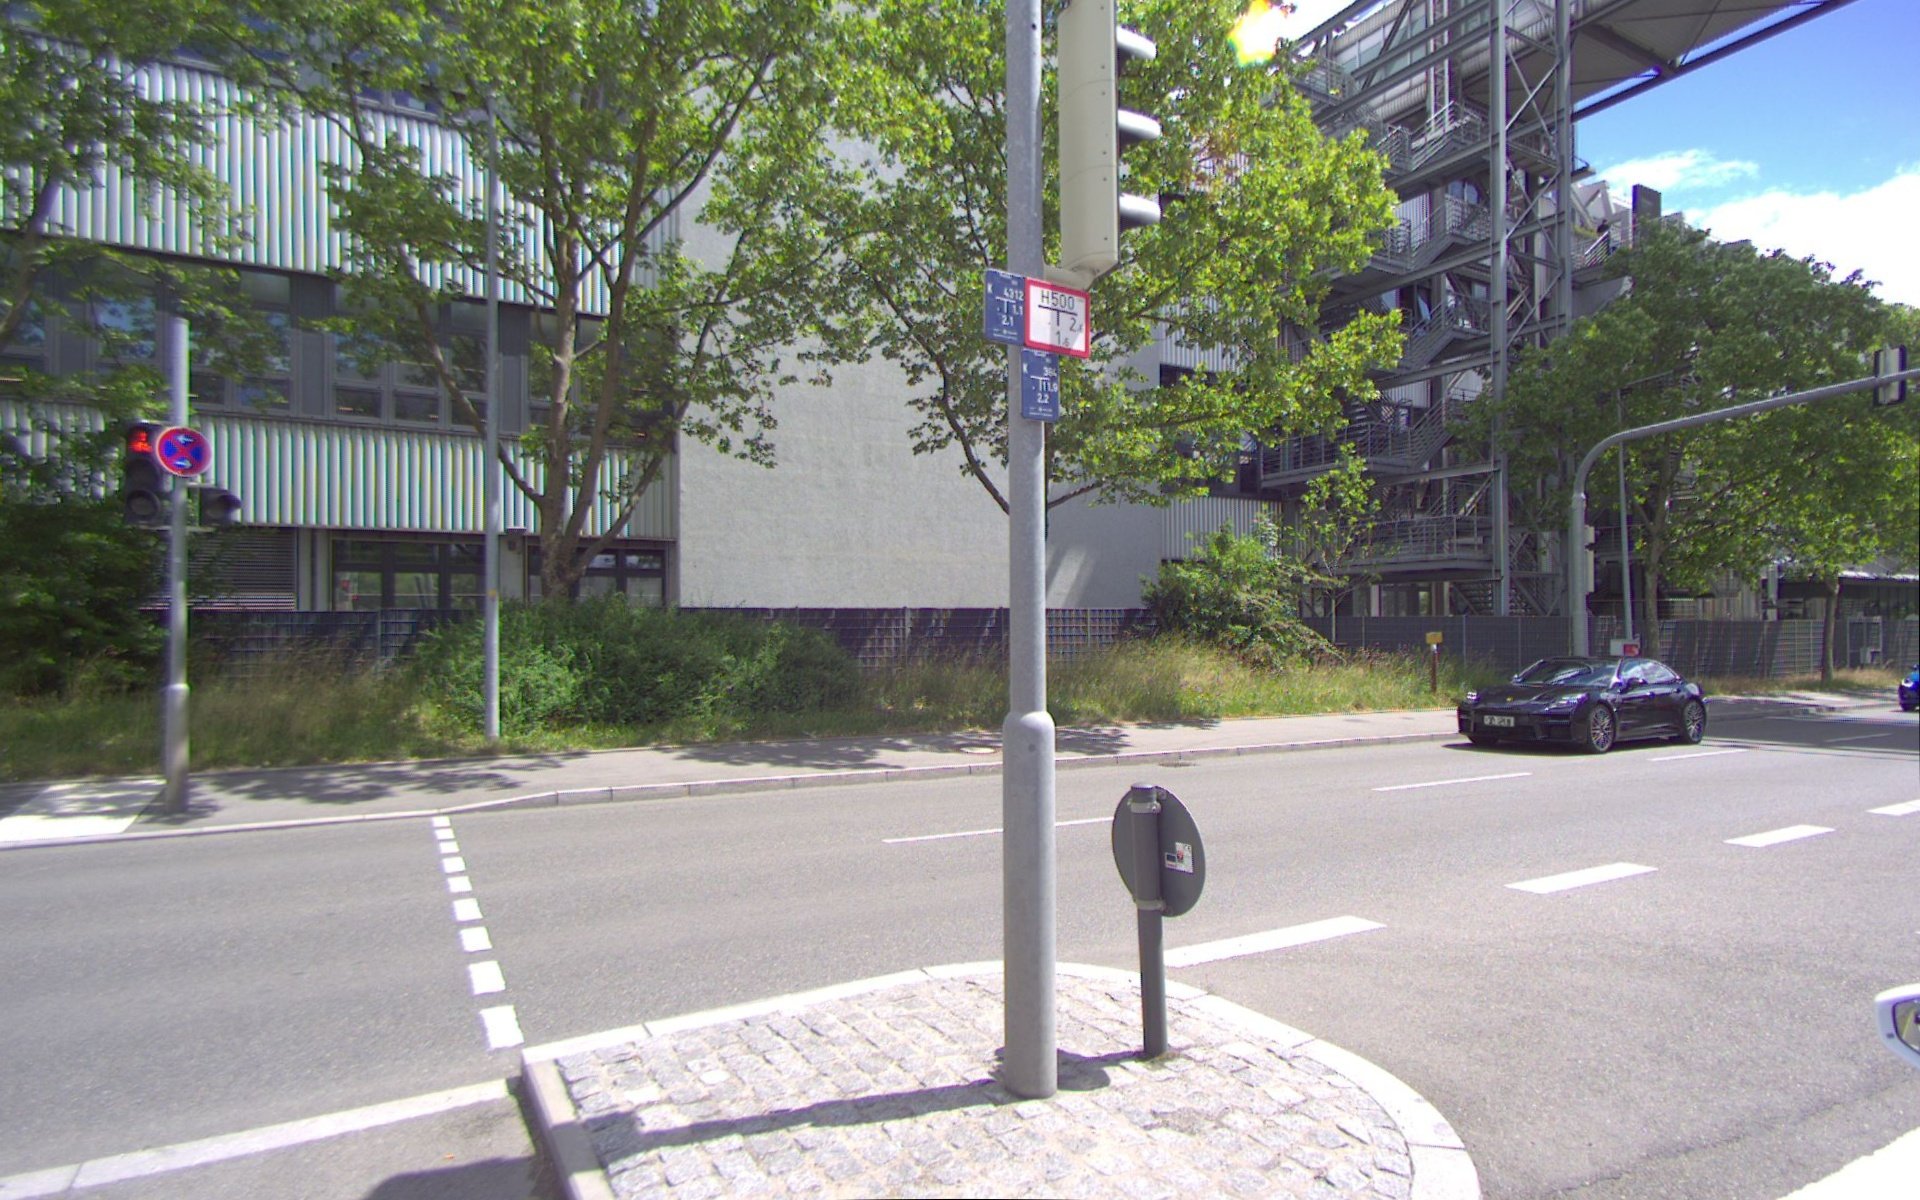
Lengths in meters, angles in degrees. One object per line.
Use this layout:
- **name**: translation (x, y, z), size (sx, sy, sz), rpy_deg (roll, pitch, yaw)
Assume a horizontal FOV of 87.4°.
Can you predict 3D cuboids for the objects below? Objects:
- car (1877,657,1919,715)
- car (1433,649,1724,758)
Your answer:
- **car**: translation (24.873, 2.128, 25.181), size (3.657, 1.400, 1.720), rpy_deg (2, -4, -30)
- **car**: translation (9.878, 1.552, 15.975), size (4.715, 1.508, 1.909), rpy_deg (2, -4, -30)
